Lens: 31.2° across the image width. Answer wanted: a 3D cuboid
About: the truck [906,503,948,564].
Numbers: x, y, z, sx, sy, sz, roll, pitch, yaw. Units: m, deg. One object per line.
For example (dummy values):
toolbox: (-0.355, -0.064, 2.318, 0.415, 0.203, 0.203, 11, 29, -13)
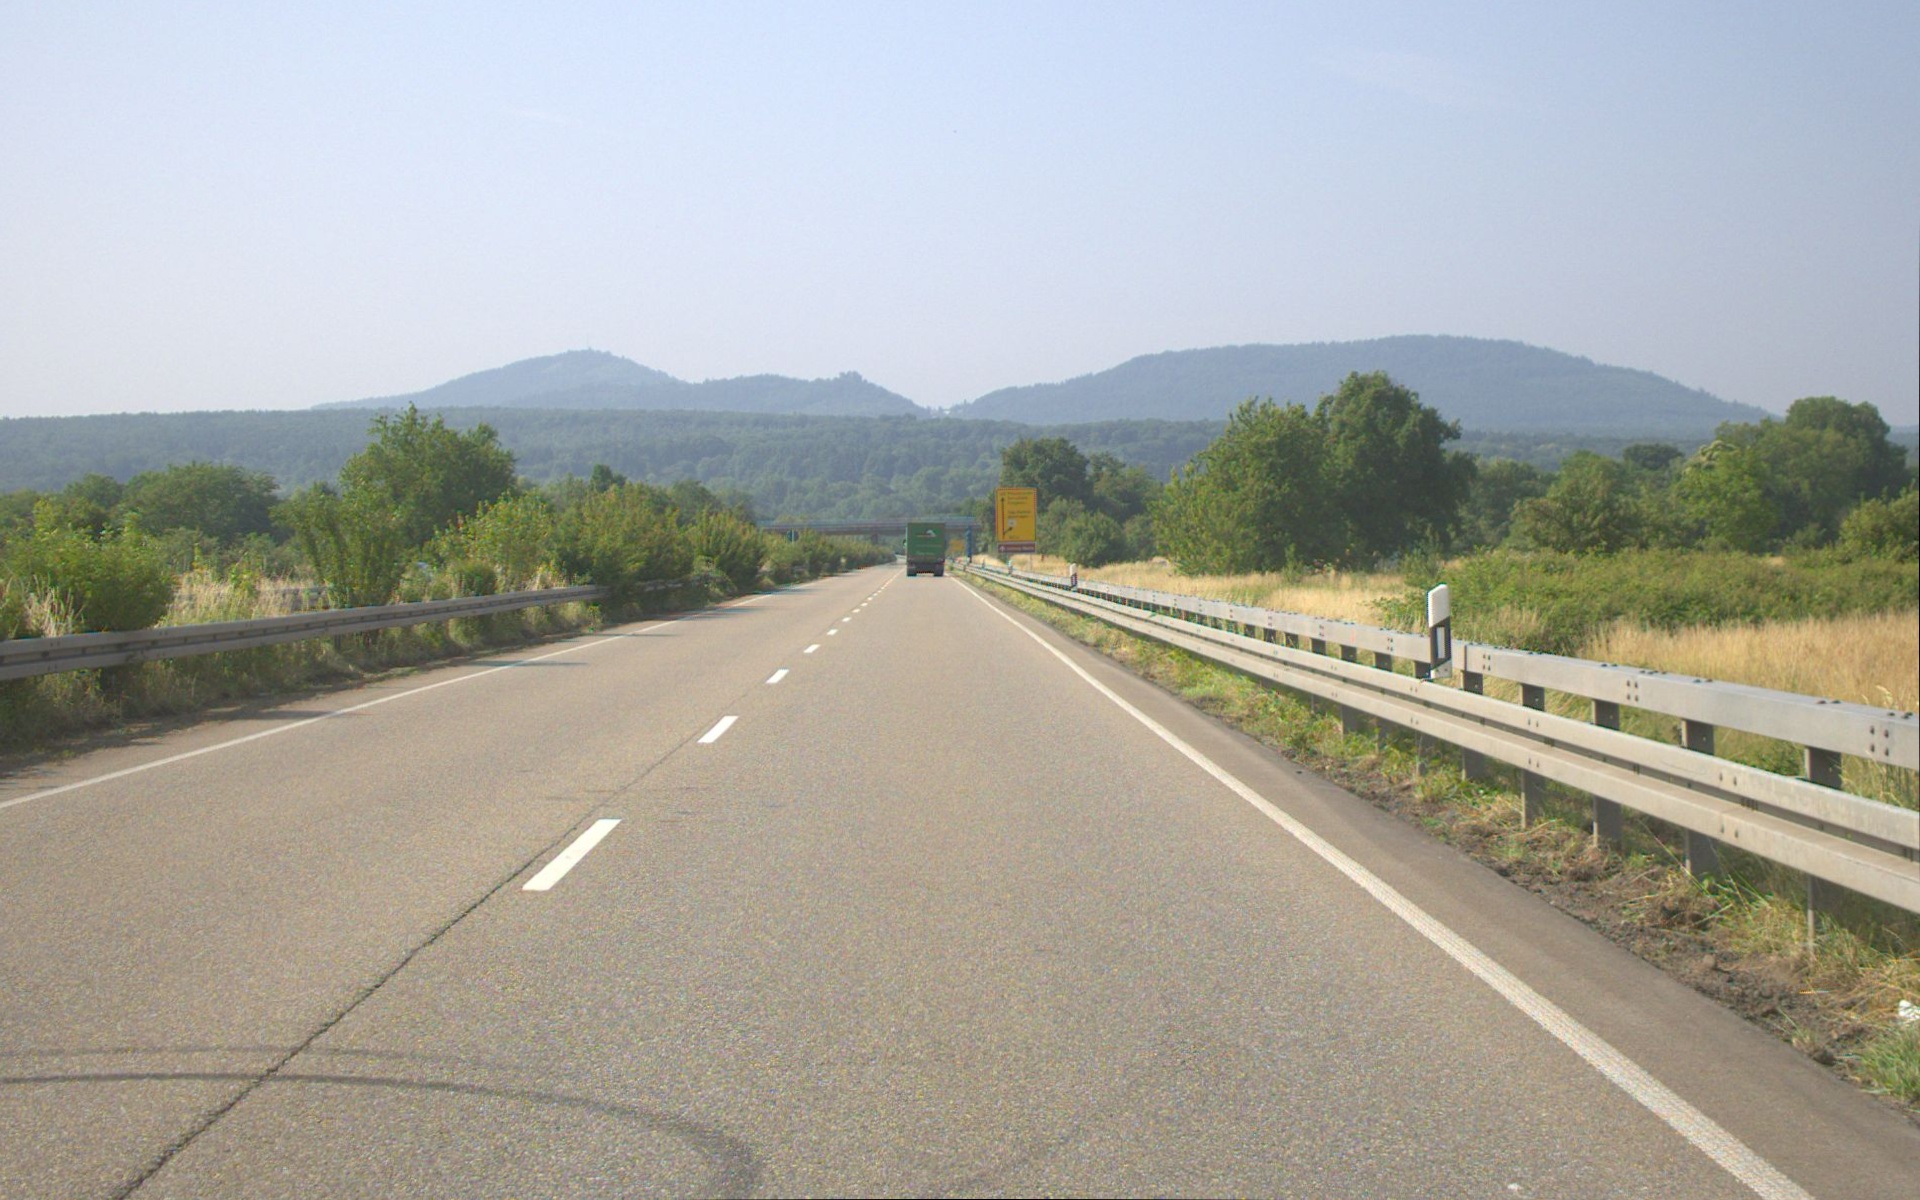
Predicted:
truck: (-2.209, -4.572, 234.057, 2.722, 3.952, 10.416, 1, 2, 0)
